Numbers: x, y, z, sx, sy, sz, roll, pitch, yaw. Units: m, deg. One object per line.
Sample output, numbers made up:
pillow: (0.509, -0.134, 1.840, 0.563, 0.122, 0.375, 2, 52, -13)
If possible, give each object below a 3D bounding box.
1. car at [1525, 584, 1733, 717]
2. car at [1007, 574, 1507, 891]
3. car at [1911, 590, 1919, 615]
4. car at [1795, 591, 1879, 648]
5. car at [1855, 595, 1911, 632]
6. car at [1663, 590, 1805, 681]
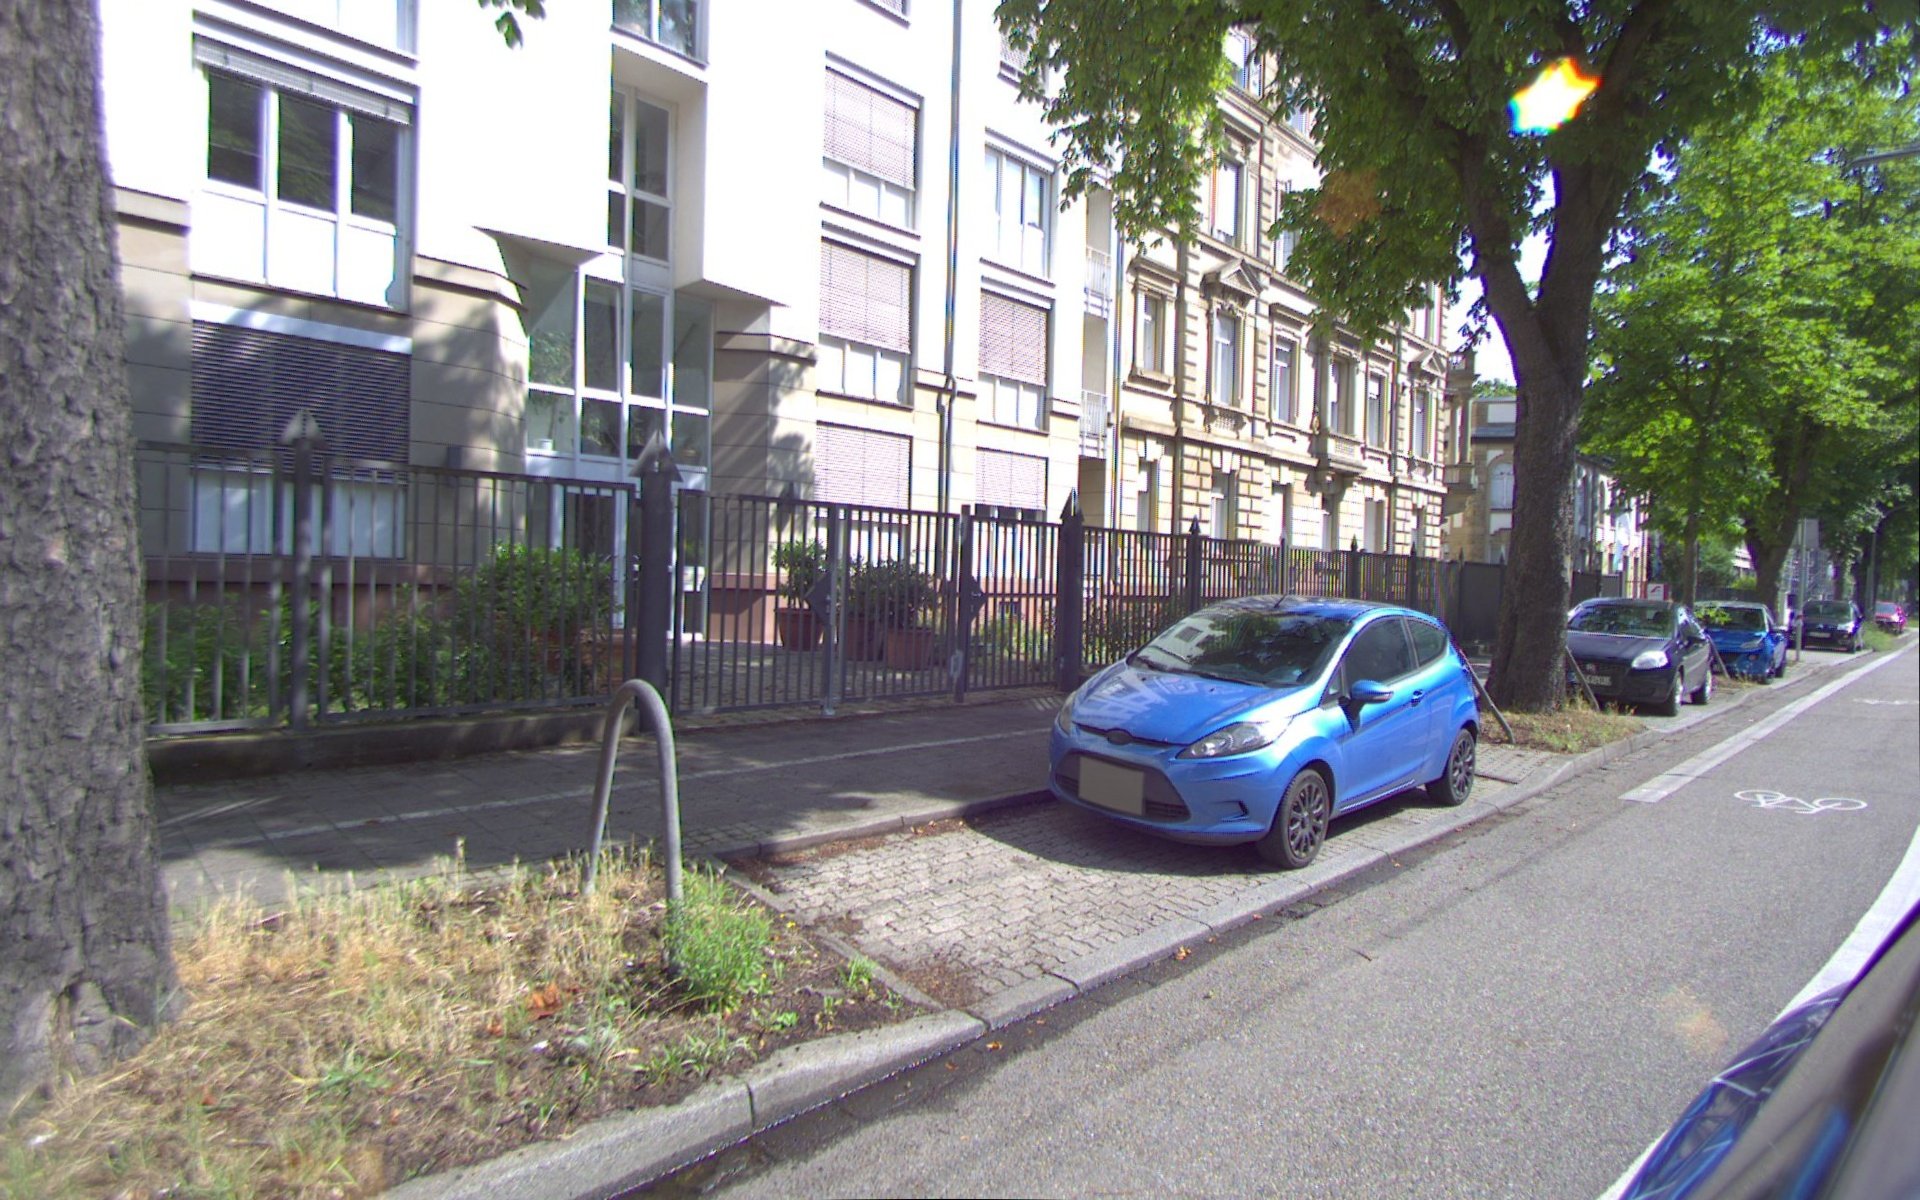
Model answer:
car: (9.370, 0.594, 14.071, 1.676, 1.493, 3.602, 6, 4, 44)
car: (2.182, 0.652, 6.903, 3.600, 1.493, 1.644, 0, 4, -44)
car: (62.219, 0.197, 64.811, 1.741, 1.592, 3.867, 6, 4, 44)
car: (28.223, 0.589, 32.536, 1.741, 1.592, 3.602, 6, 4, 44)
car: (44.251, 0.626, 48.508, 1.741, 1.592, 3.867, 6, 4, 44)
car: (15.145, 0.614, 19.738, 1.676, 1.493, 3.602, 6, 4, 44)
